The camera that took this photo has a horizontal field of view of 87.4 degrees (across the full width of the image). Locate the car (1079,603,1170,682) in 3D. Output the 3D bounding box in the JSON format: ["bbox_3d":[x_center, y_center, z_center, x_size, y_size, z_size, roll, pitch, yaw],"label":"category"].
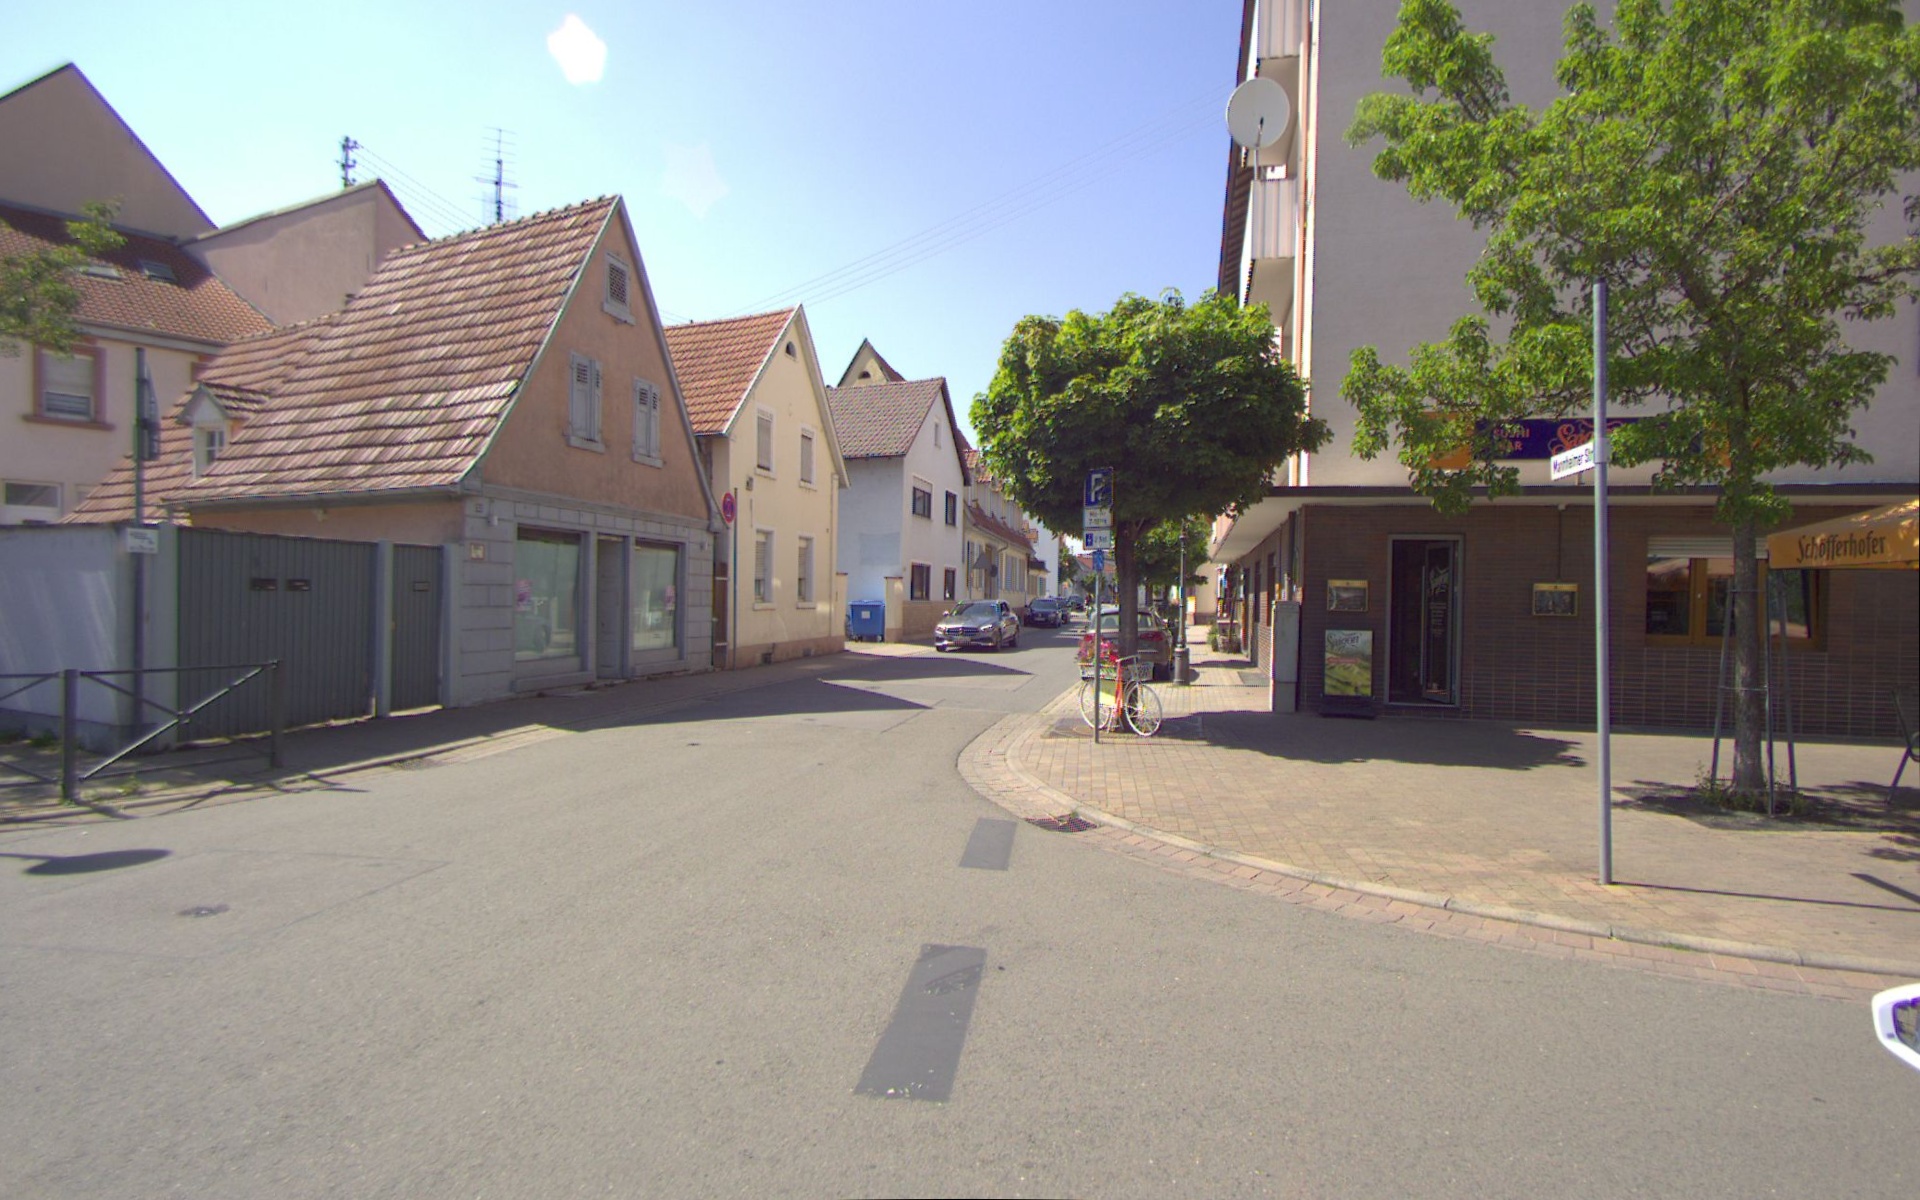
[{"bbox_3d":[3.436,0.797,20.569,1.549,1.473,3.487,0,0,14],"label":"car"}]

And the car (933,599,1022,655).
[{"bbox_3d":[0.612,0.757,29.927,1.876,1.501,4.847,0,-1,10],"label":"car"}]

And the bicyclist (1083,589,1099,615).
[{"bbox_3d":[8.706,0.125,66.680,1.028,1.659,1.129,0,0,6],"label":"bicyclist"}]

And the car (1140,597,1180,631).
[{"bbox_3d":[10.699,0.709,53.667,2.008,1.711,4.844,0,0,12],"label":"car"}]

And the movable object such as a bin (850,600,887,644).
[{"bbox_3d":[-2.890,0.692,31.804,1.083,1.384,0.390,0,0,16],"label":"movable object such as a bin"}]

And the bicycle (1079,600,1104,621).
[{"bbox_3d":[8.754,0.688,66.979,1.596,1.389,3.928,0,0,6],"label":"bicycle"}]

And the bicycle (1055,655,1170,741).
[{"bbox_3d":[1.816,1.147,12.091,0.461,0.909,1.397,-1,0,-41],"label":"bicycle"}]

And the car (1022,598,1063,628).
[{"bbox_3d":[4.319,0.633,52.153,1.635,1.495,4.137,0,0,11],"label":"car"}]
